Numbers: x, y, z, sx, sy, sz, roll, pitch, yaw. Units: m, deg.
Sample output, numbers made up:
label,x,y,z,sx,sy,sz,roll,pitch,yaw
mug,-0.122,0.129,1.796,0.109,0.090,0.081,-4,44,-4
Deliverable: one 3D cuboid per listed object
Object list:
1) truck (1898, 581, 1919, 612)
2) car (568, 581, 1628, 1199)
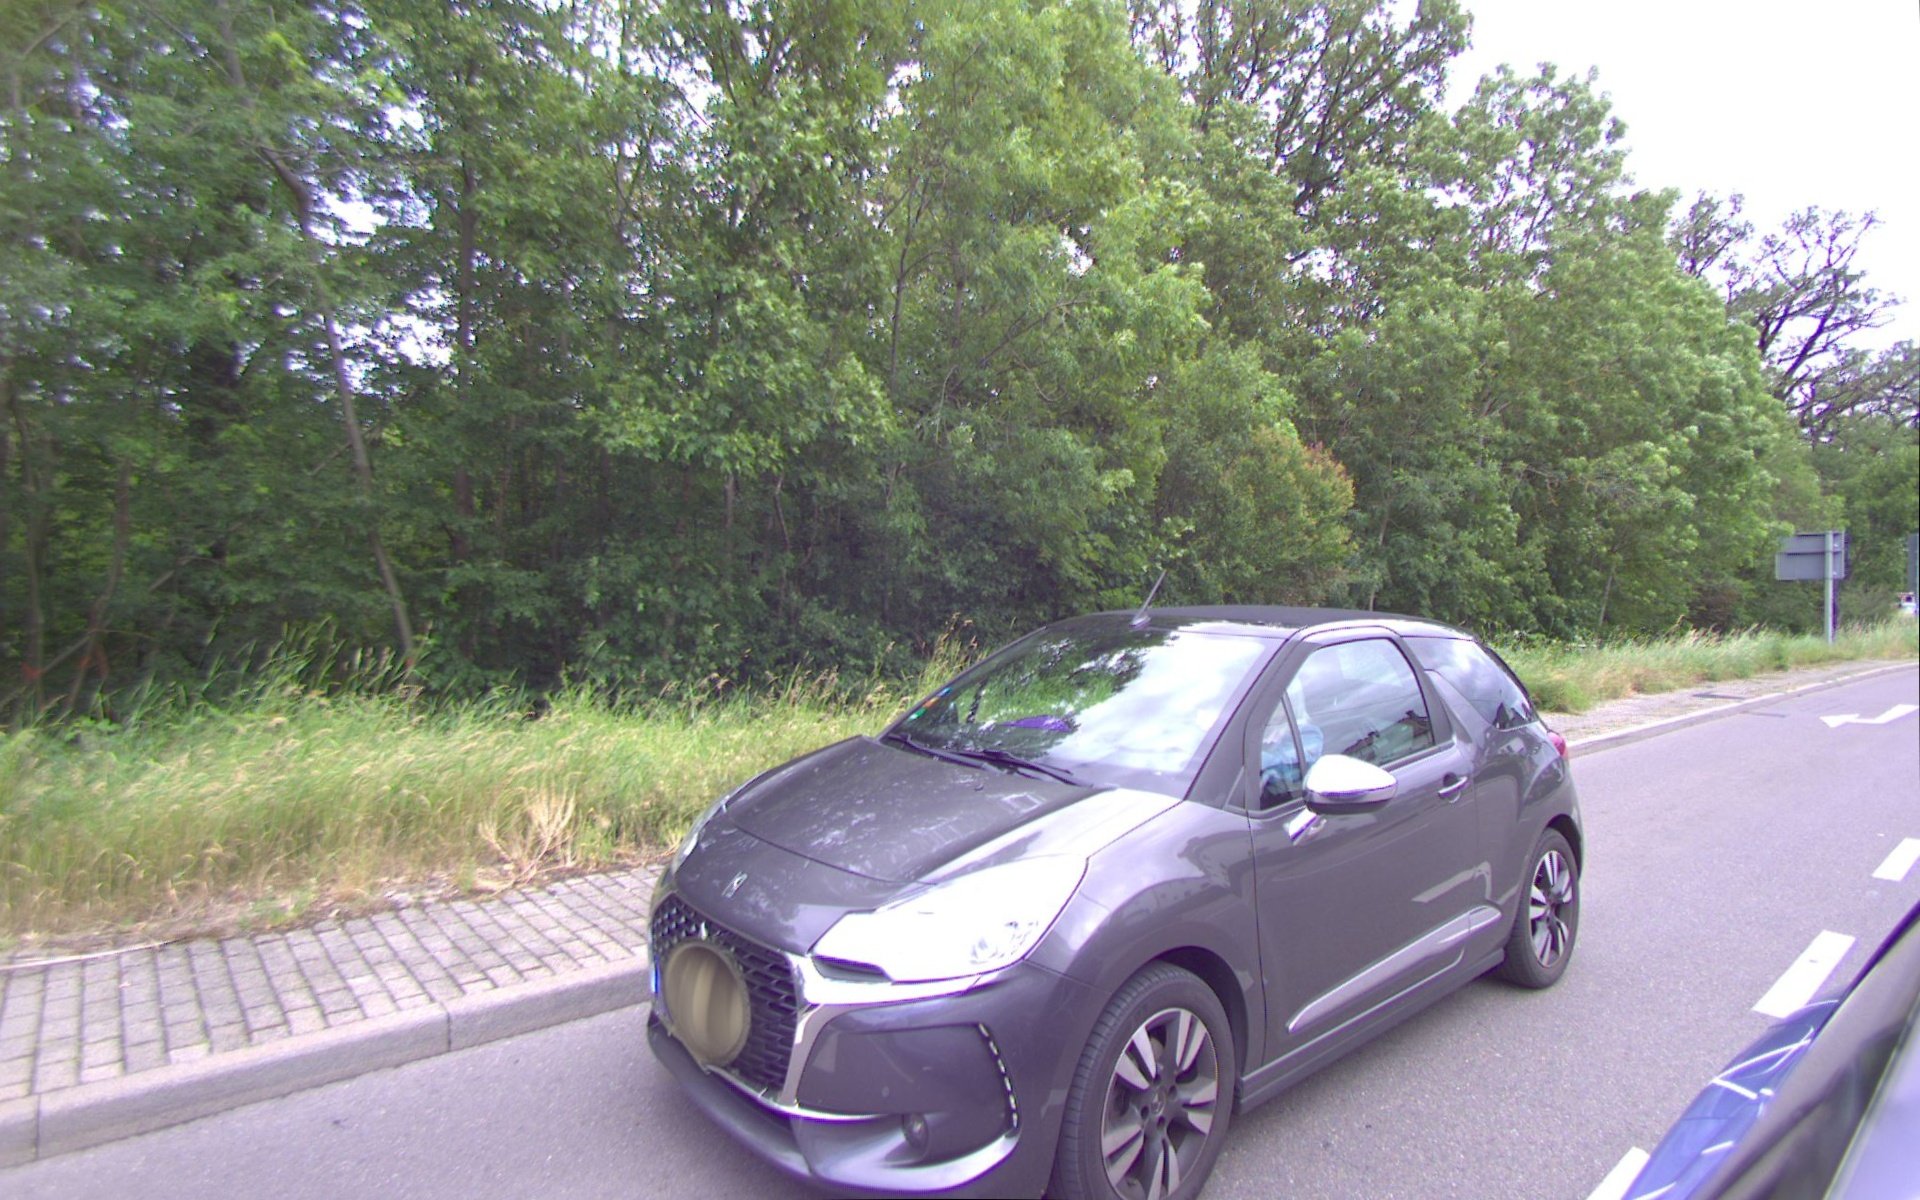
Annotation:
label,x,y,z,sx,sy,sz,roll,pitch,yaw
truck,113.804,-0.417,120.270,2.995,3.685,6.985,1,1,40
car,0.786,0.697,3.678,3.786,1.476,1.729,0,0,-40
